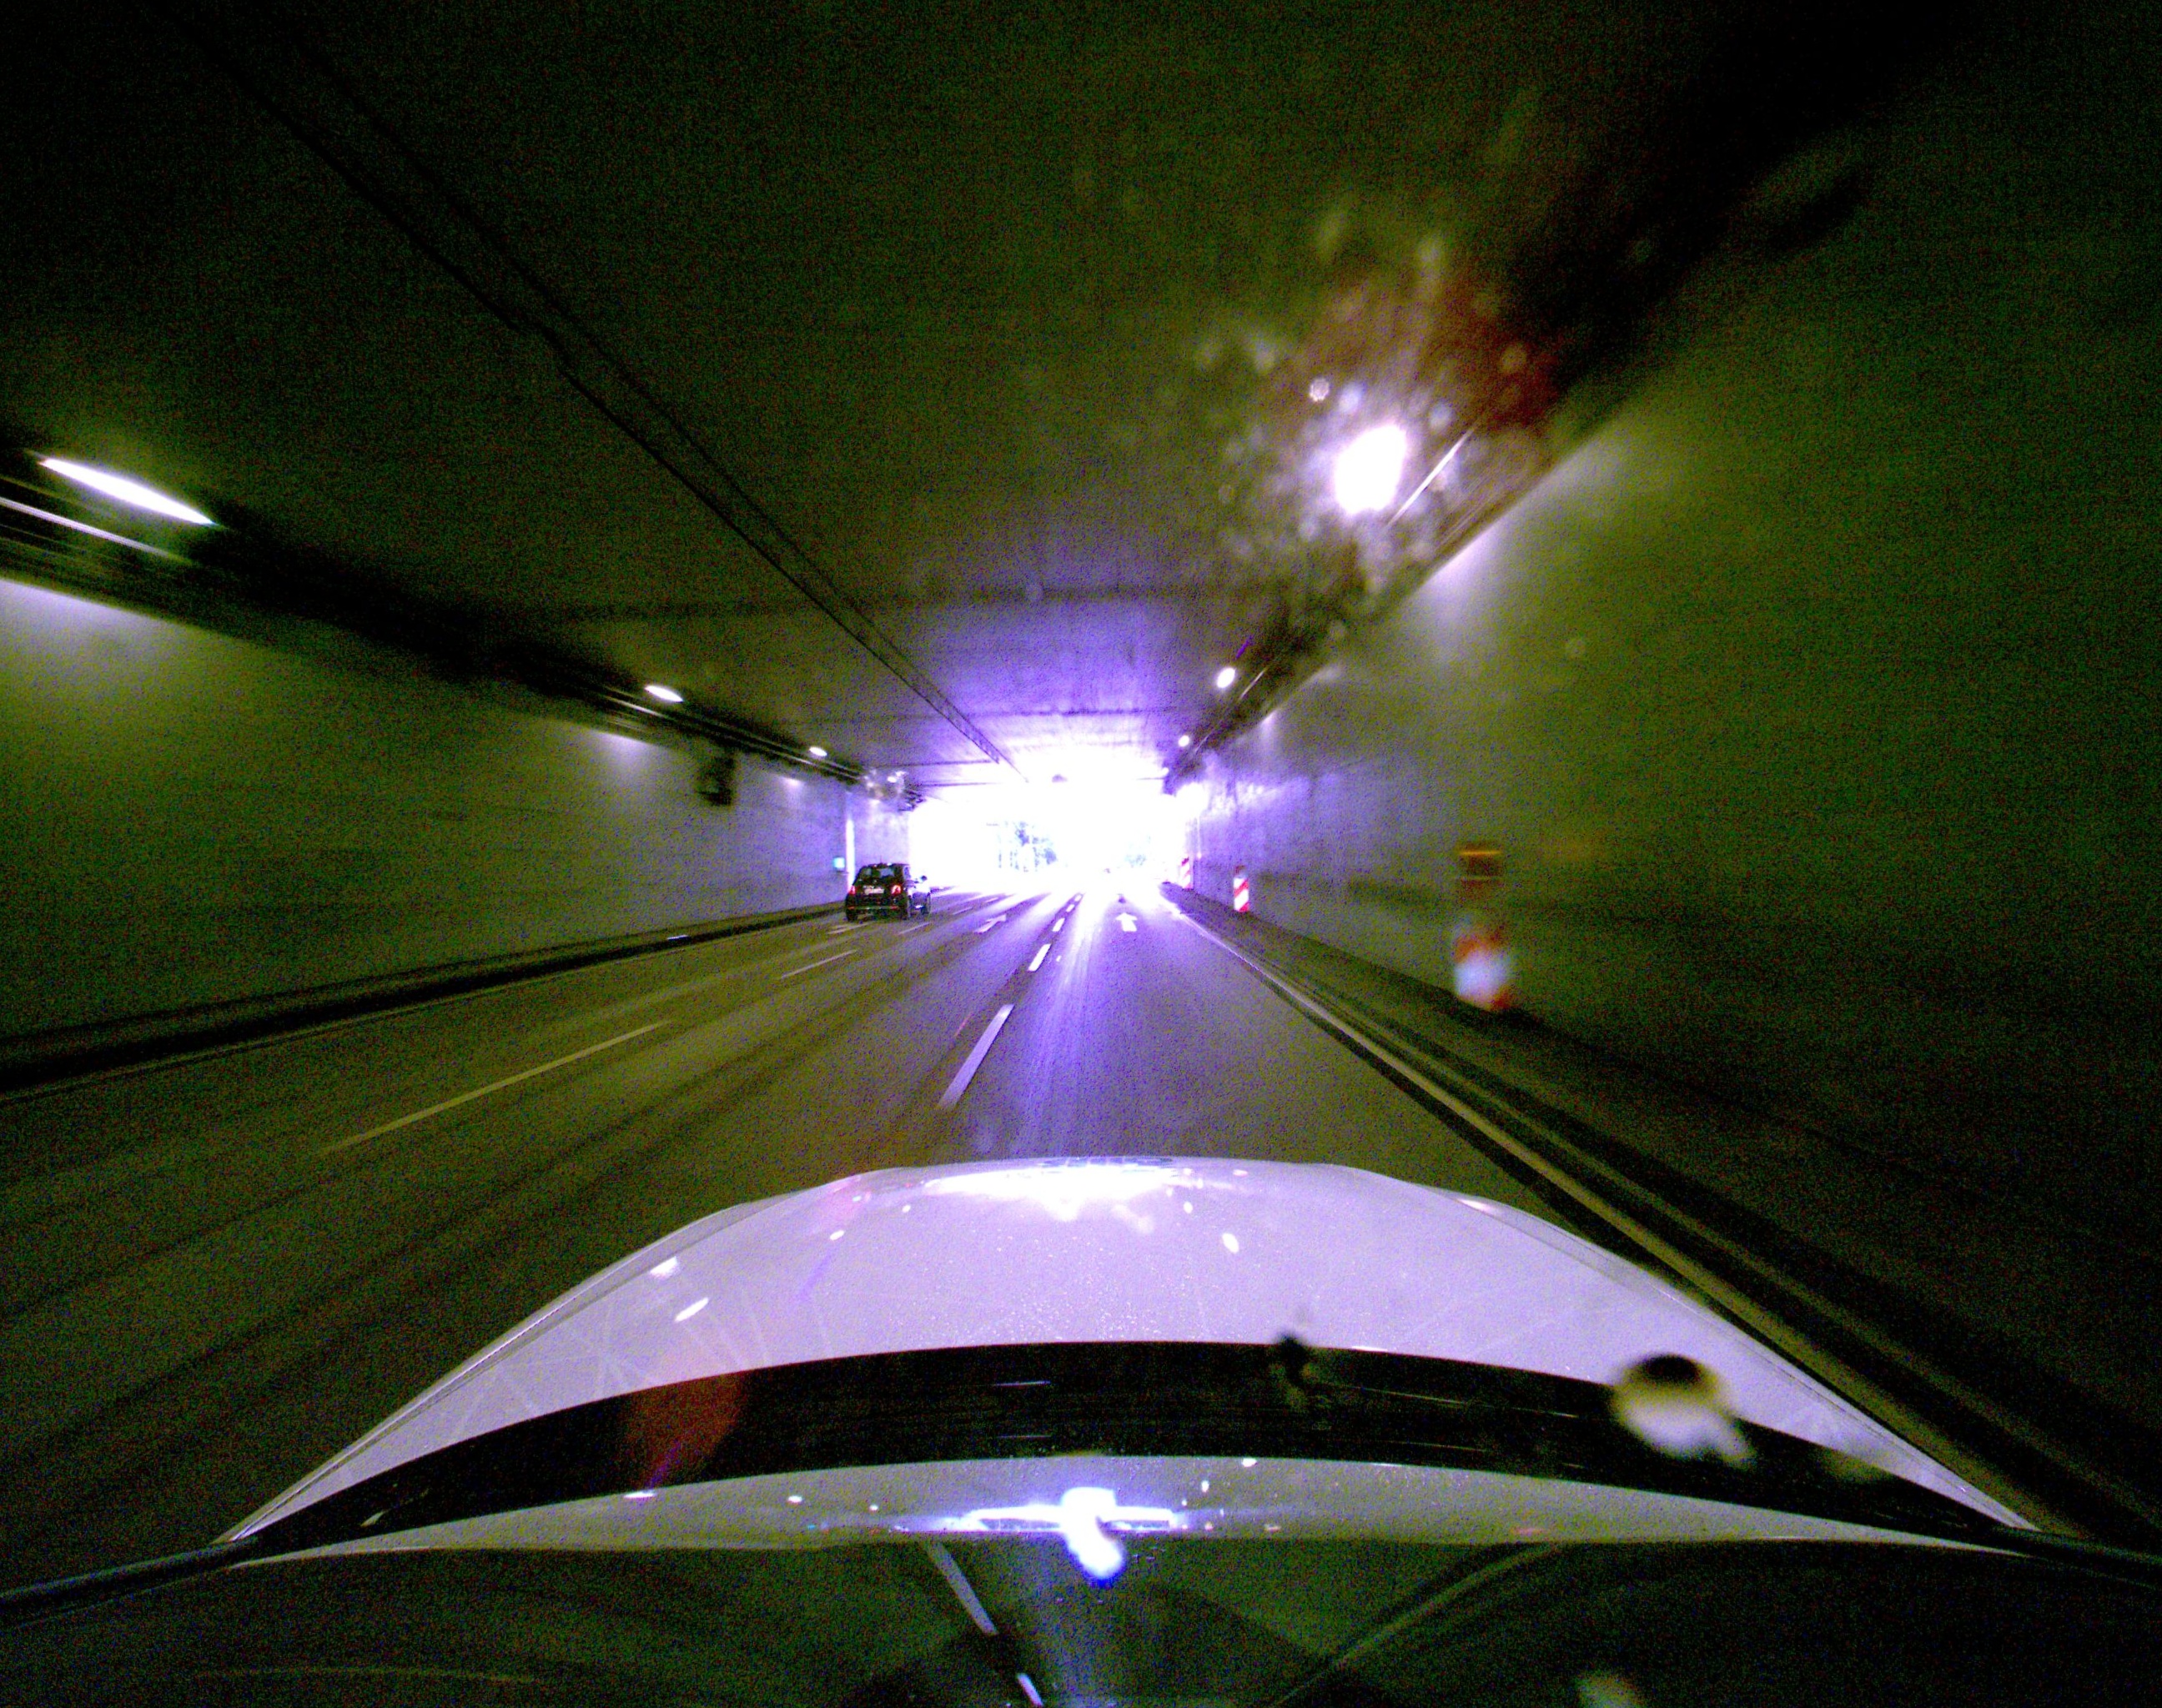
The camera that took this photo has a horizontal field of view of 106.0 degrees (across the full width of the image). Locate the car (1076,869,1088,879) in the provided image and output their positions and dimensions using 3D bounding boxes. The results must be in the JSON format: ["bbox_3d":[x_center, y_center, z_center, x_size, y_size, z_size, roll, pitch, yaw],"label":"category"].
[{"bbox_3d":[0.178,3.446,141.331,1.886,1.684,3.997,0,0,-2],"label":"car"}]

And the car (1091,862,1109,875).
[{"bbox_3d":[2.107,1.657,92.716,1.987,1.448,4.314,0,-2,1],"label":"car"}]

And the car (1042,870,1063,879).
[{"bbox_3d":[-5.297,3.757,149.887,1.907,1.514,3.954,0,0,-38],"label":"car"}]

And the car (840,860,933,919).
[{"bbox_3d":[-5.196,0.910,22.186,1.607,1.454,3.573,0,0,0],"label":"car"}]

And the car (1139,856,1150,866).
[{"bbox_3d":[12.738,1.397,162.667,1.986,2.014,4.001,0,-2,2],"label":"car"}]
